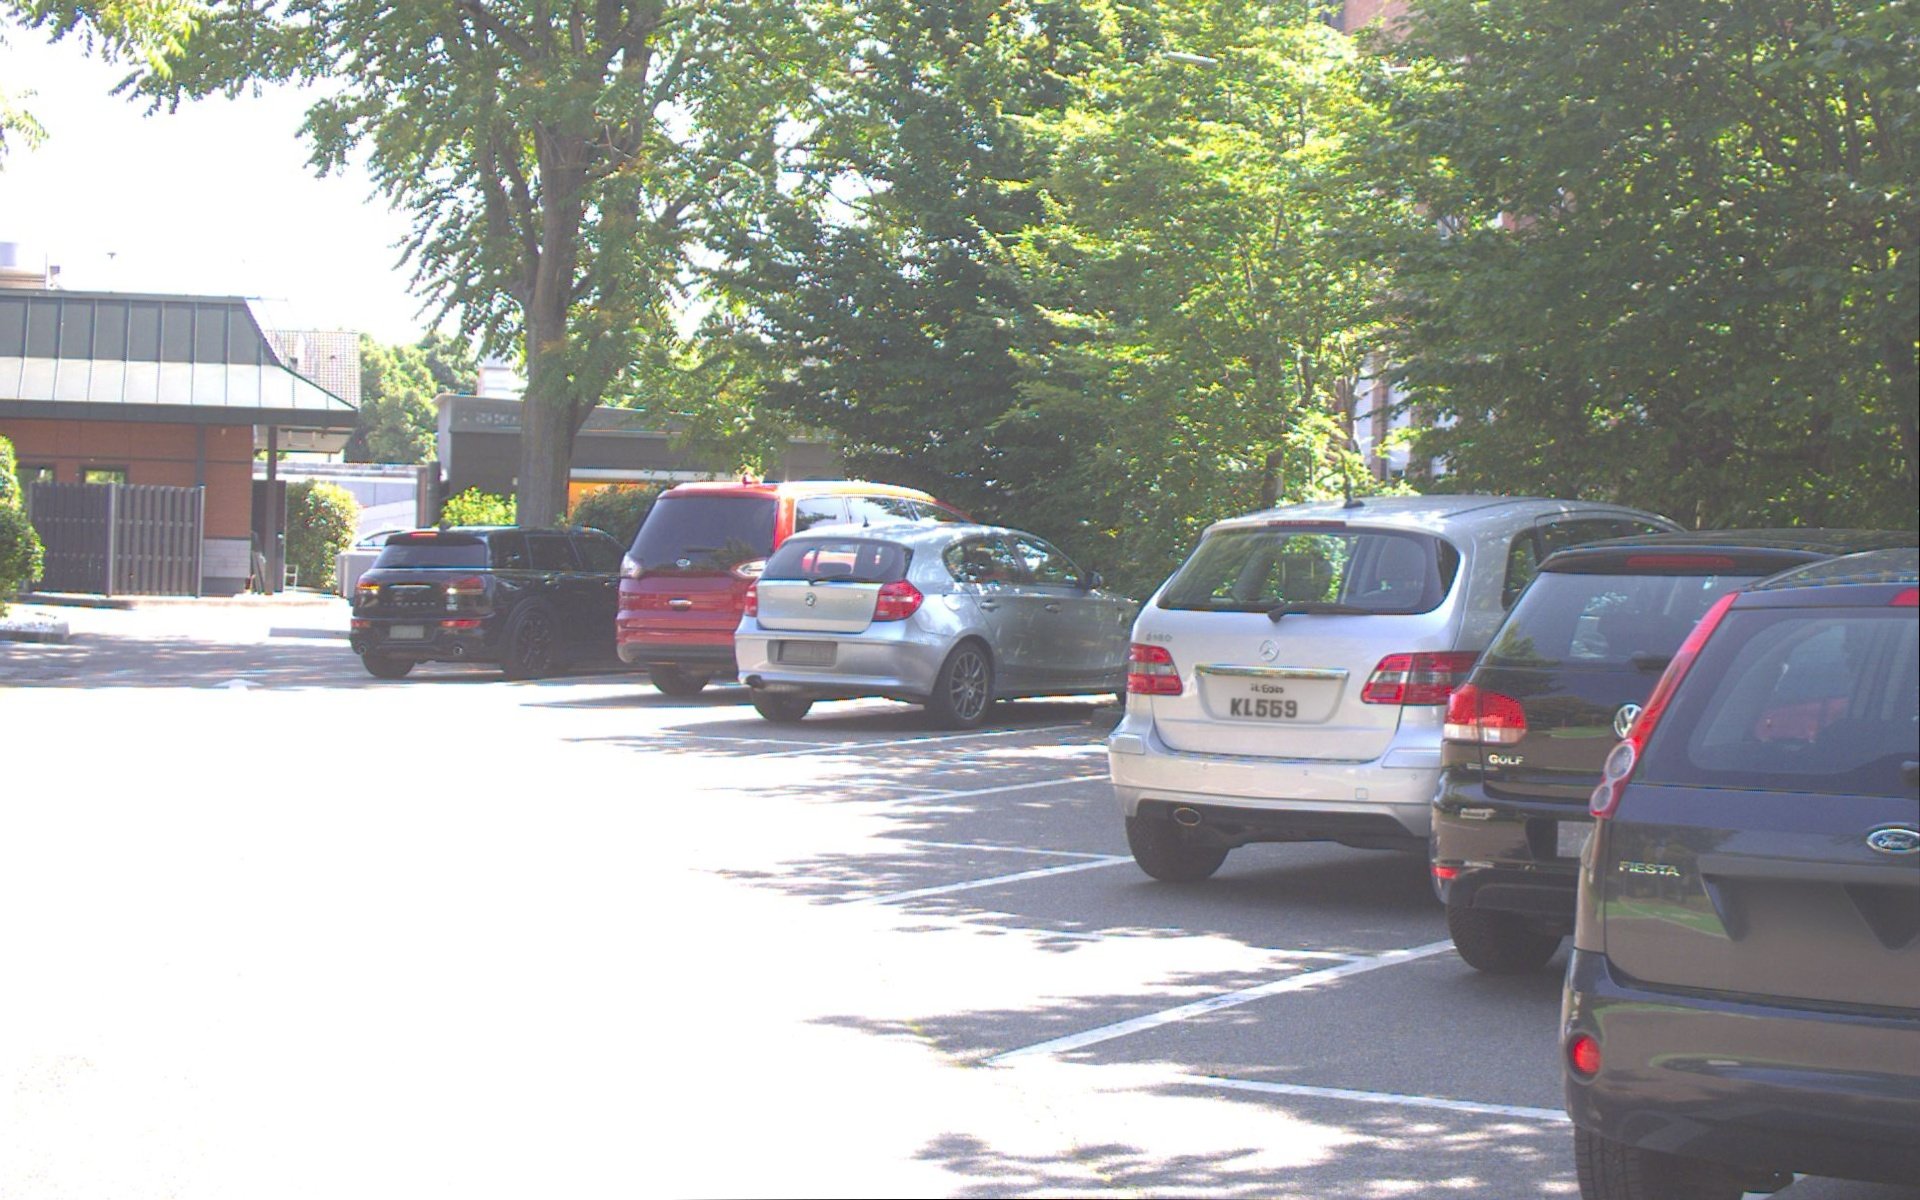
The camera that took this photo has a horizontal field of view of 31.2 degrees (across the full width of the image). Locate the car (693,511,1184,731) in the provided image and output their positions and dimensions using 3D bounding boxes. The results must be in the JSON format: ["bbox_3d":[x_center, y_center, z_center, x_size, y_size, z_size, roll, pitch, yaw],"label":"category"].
[{"bbox_3d":[-0.072,0.100,25.205,1.771,1.470,3.993,1,1,31],"label":"car"}]

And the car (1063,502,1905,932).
[{"bbox_3d":[2.363,0.386,14.711,1.772,1.566,3.991,2,2,39],"label":"car"}]

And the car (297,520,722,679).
[{"bbox_3d":[-4.150,-0.019,32.239,1.772,1.384,3.992,1,1,33],"label":"car"}]

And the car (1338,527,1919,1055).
[{"bbox_3d":[3.162,0.496,11.798,1.772,1.465,3.991,1,2,40],"label":"car"}]

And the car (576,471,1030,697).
[{"bbox_3d":[-1.227,-0.155,28.546,1.771,1.728,3.993,0,1,33],"label":"car"}]

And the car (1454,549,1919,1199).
[{"bbox_3d":[2.860,0.620,7.660,1.703,1.448,3.991,1,2,38],"label":"car"}]
